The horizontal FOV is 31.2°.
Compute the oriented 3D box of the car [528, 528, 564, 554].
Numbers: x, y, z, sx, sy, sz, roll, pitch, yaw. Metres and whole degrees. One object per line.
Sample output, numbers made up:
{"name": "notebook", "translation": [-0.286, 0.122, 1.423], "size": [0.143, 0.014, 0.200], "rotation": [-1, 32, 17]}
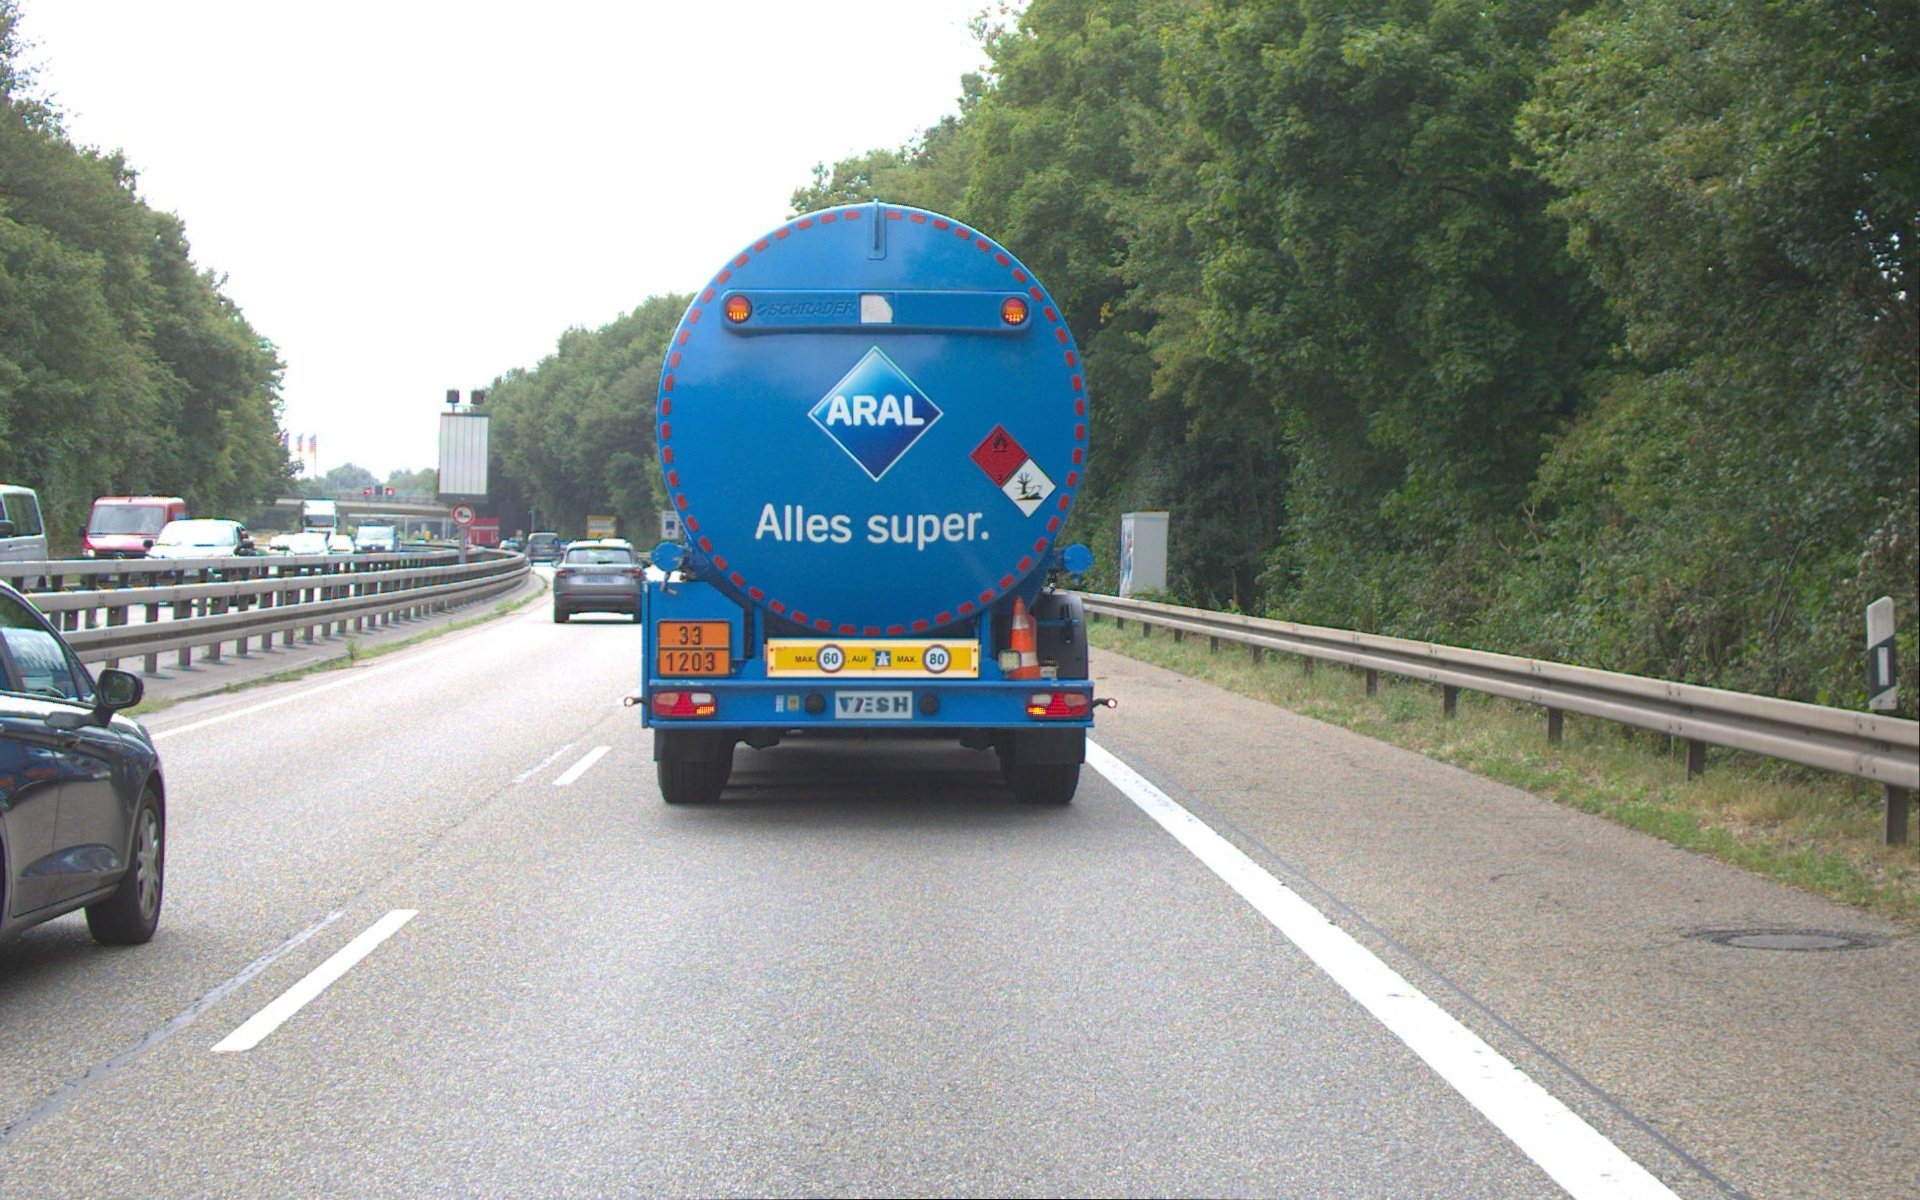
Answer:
{"name": "car", "translation": [-24.882, -3.553, 206.512], "size": [1.993, 1.547, 4.001], "rotation": [0, 1, -9]}

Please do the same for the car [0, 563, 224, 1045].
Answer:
{"name": "car", "translation": [-3.875, 0.599, 11.911], "size": [1.826, 1.453, 4.640], "rotation": [0, 1, -2]}

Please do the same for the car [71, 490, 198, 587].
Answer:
{"name": "car", "translation": [-19.756, -1.456, 82.472], "size": [2.066, 2.248, 5.376], "rotation": [0, 1, -3]}

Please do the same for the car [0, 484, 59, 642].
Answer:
{"name": "car", "translation": [-13.019, -0.477, 44.005], "size": [1.821, 1.976, 5.058], "rotation": [0, 1, -2]}

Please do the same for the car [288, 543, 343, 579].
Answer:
{"name": "car", "translation": [-26.030, -1.577, 138.932], "size": [1.694, 1.461, 4.090], "rotation": [0, 1, -4]}

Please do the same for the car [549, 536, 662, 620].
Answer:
{"name": "car", "translation": [-6.979, -0.450, 68.021], "size": [1.826, 1.604, 4.167], "rotation": [0, 1, 0]}

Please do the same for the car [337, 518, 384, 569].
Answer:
{"name": "car", "translation": [-27.498, -2.585, 157.812], "size": [1.935, 2.313, 5.306], "rotation": [0, 1, -8]}

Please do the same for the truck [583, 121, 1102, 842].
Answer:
{"name": "truck", "translation": [-0.671, -0.695, 22.160], "size": [2.755, 3.833, 7.689], "rotation": [0, 1, -1]}

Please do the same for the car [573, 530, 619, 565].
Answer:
{"name": "car", "translation": [-16.427, -2.368, 155.104], "size": [1.954, 1.562, 4.001], "rotation": [0, 1, -8]}

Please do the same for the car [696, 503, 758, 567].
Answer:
{"name": "car", "translation": [-8.301, -2.297, 122.779], "size": [1.993, 2.237, 4.000], "rotation": [0, 1, -1]}

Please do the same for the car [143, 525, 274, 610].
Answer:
{"name": "car", "translation": [-14.234, -0.626, 65.307], "size": [1.781, 1.558, 4.015], "rotation": [0, 1, -3]}
